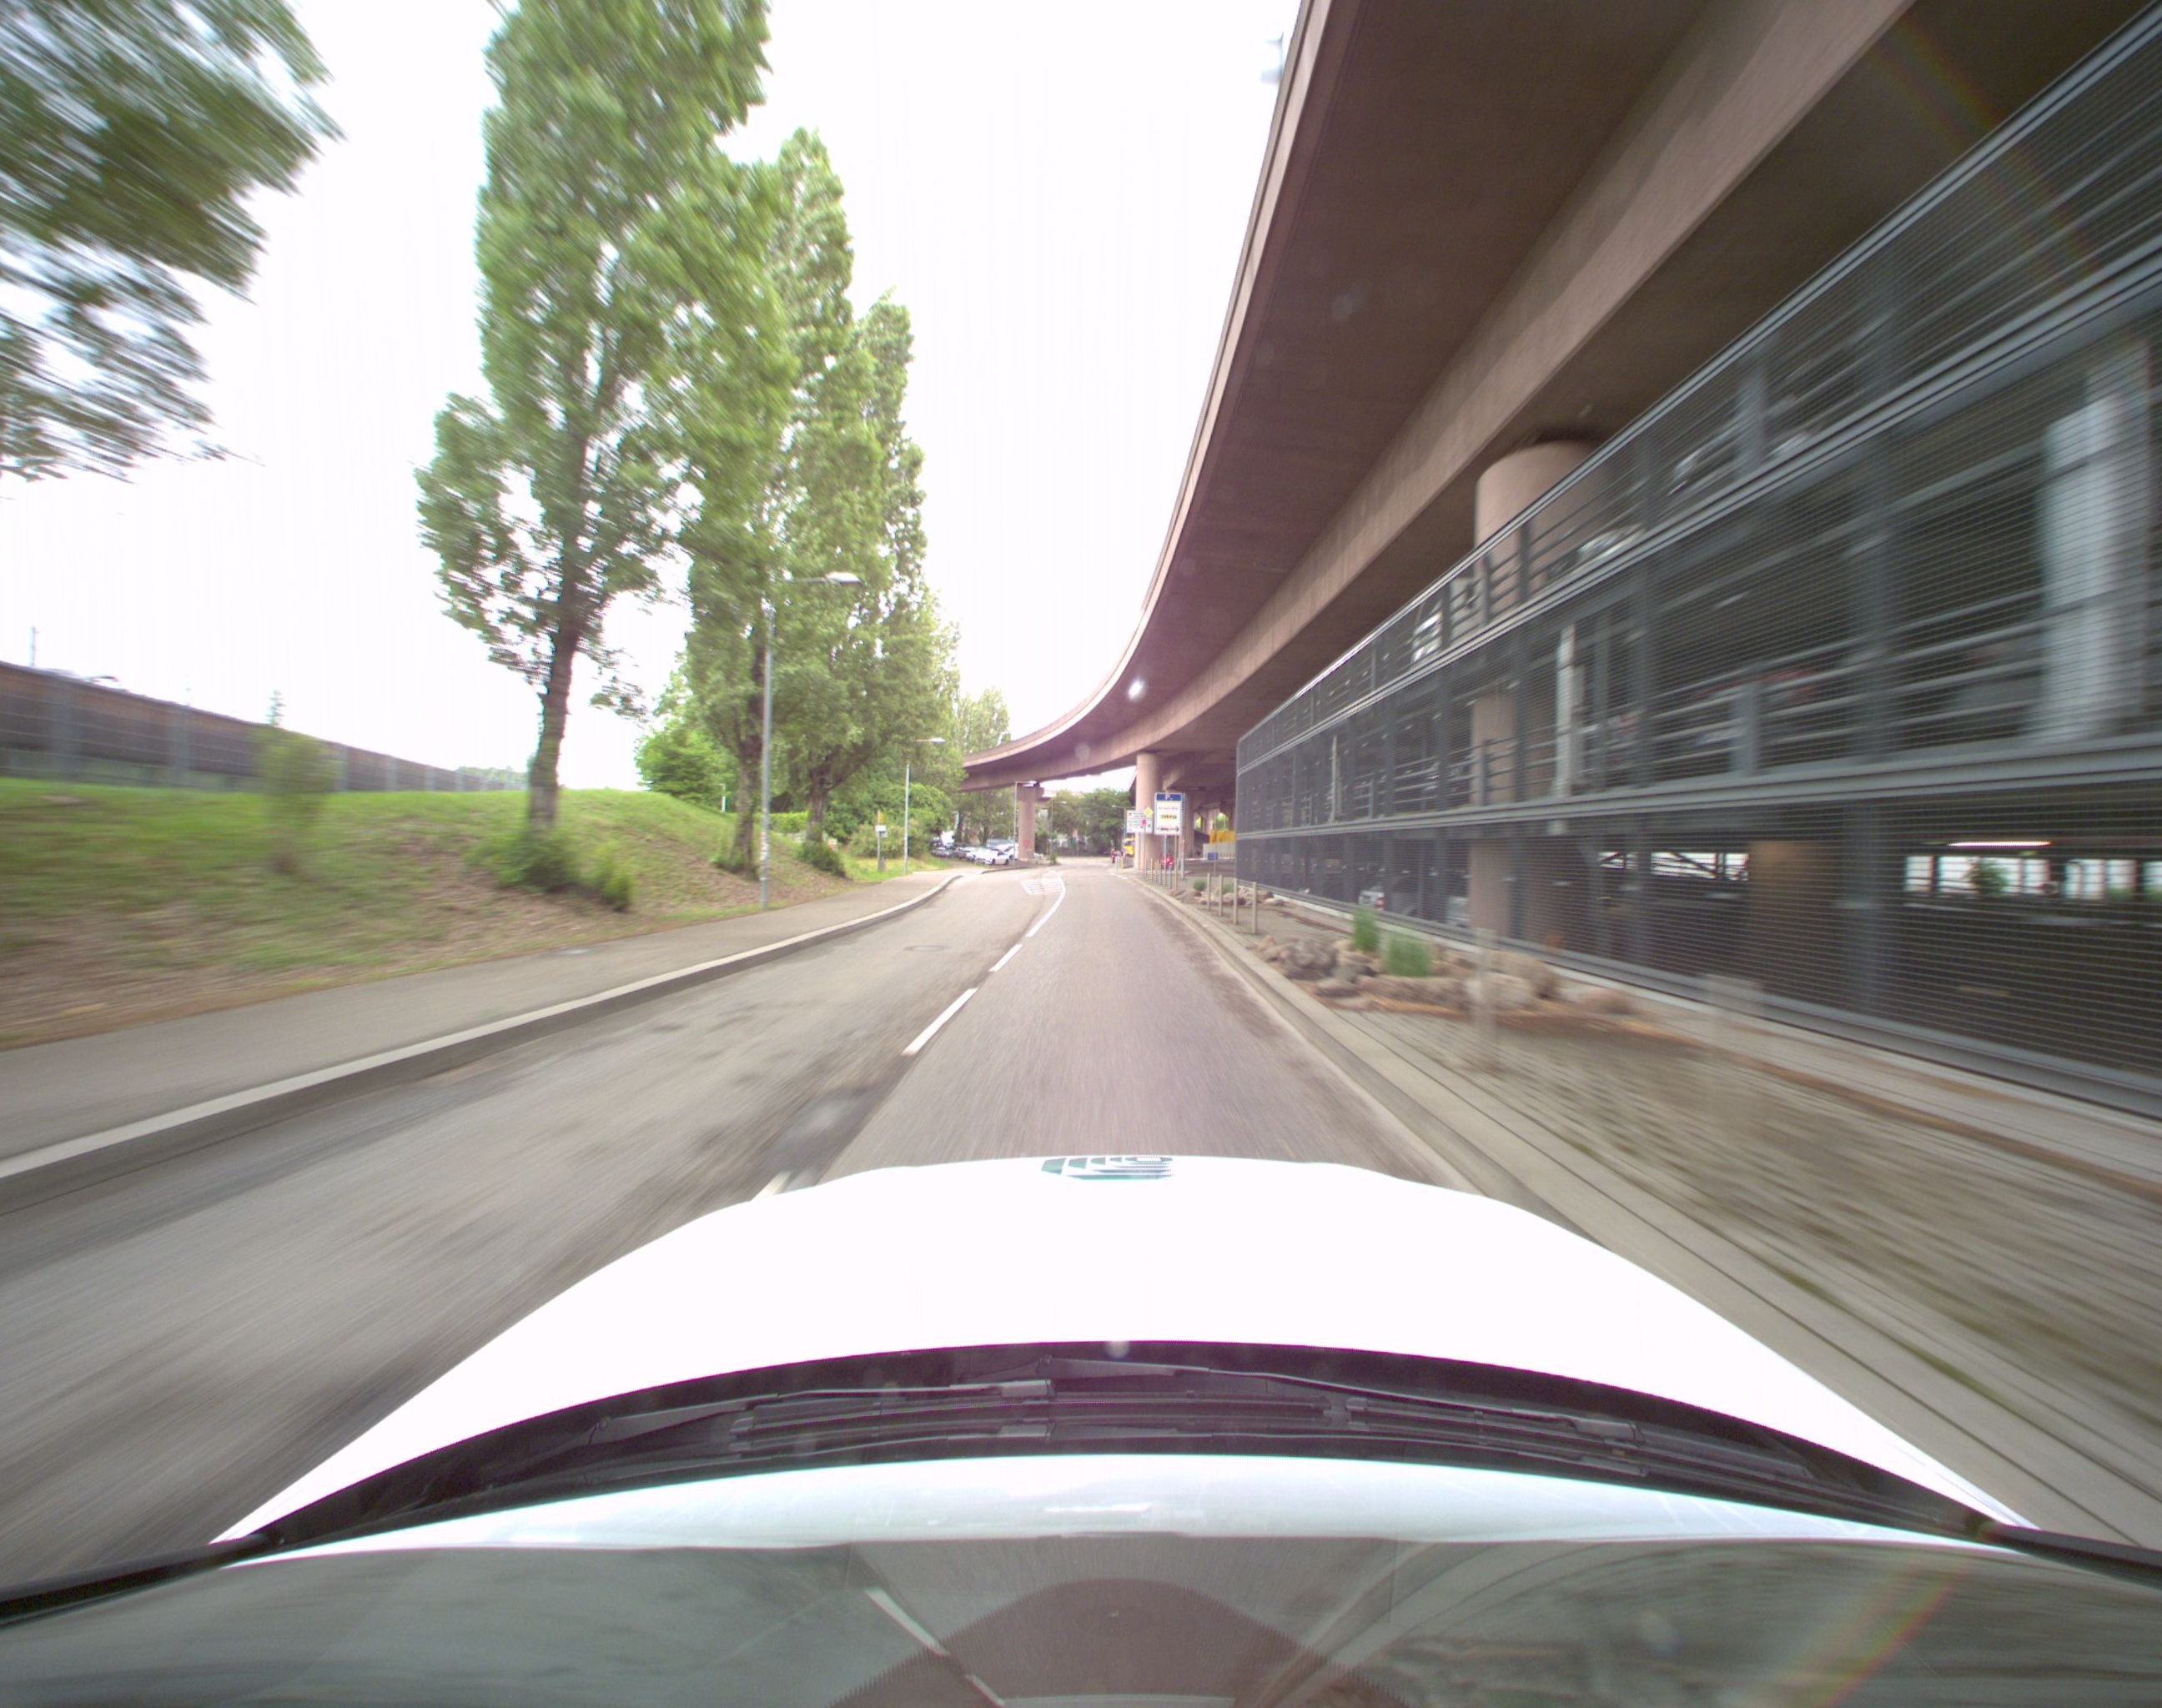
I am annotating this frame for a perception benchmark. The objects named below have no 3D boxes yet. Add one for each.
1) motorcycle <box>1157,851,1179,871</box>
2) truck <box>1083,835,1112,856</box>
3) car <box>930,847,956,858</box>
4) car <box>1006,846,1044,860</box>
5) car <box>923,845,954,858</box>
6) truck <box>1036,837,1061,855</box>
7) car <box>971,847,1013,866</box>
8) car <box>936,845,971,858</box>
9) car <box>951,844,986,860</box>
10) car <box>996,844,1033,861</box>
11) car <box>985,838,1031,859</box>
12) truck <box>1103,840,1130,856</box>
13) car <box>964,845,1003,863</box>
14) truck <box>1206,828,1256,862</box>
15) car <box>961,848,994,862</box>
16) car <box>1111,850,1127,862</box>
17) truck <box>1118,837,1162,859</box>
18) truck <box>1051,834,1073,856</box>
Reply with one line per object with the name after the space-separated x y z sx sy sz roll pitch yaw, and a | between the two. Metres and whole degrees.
6.315 0.497 59.195 0.797 1.366 2.118 0 1 -16 | motorcycle
3.105 -1.782 159.293 3.076 3.867 7.996 -1 2 -20 | truck
-17.505 -0.222 103.379 1.630 1.441 3.753 0 0 19 | car
-7.218 -0.137 104.755 4.350 1.605 1.962 3 1 14 | car
-18.690 -0.399 106.943 1.877 1.675 4.179 0 0 27 | car
-7.209 -1.762 179.916 3.067 3.618 7.860 0 2 -22 | truck
-8.730 0.279 80.290 1.977 1.480 4.853 5 0 22 | car
-15.762 -0.311 100.796 1.840 1.487 4.917 3 2 25 | car
-12.528 -0.166 90.627 1.840 1.691 4.187 1 0 25 | car
-9.025 -0.249 110.506 4.529 2.111 1.855 2 0 9 | car
-10.161 -0.803 113.688 6.156 2.724 2.367 2 1 -1 | car
6.952 -1.182 160.309 2.925 2.898 6.516 -1 2 -20 | truck
-10.044 0.045 84.183 1.977 1.582 4.423 5 0 22 | car
22.685 -1.254 122.947 3.108 4.917 8.769 1 0 43 | truck
-11.139 0.152 87.823 1.771 1.454 3.768 1 0 24 | car
5.408 0.264 115.934 1.987 1.679 4.560 1 0 0 | car
10.362 -1.132 142.036 8.293 3.480 2.901 -3 5 -44 | truck
-4.398 -2.111 183.594 3.208 4.779 8.009 0 2 -15 | truck
